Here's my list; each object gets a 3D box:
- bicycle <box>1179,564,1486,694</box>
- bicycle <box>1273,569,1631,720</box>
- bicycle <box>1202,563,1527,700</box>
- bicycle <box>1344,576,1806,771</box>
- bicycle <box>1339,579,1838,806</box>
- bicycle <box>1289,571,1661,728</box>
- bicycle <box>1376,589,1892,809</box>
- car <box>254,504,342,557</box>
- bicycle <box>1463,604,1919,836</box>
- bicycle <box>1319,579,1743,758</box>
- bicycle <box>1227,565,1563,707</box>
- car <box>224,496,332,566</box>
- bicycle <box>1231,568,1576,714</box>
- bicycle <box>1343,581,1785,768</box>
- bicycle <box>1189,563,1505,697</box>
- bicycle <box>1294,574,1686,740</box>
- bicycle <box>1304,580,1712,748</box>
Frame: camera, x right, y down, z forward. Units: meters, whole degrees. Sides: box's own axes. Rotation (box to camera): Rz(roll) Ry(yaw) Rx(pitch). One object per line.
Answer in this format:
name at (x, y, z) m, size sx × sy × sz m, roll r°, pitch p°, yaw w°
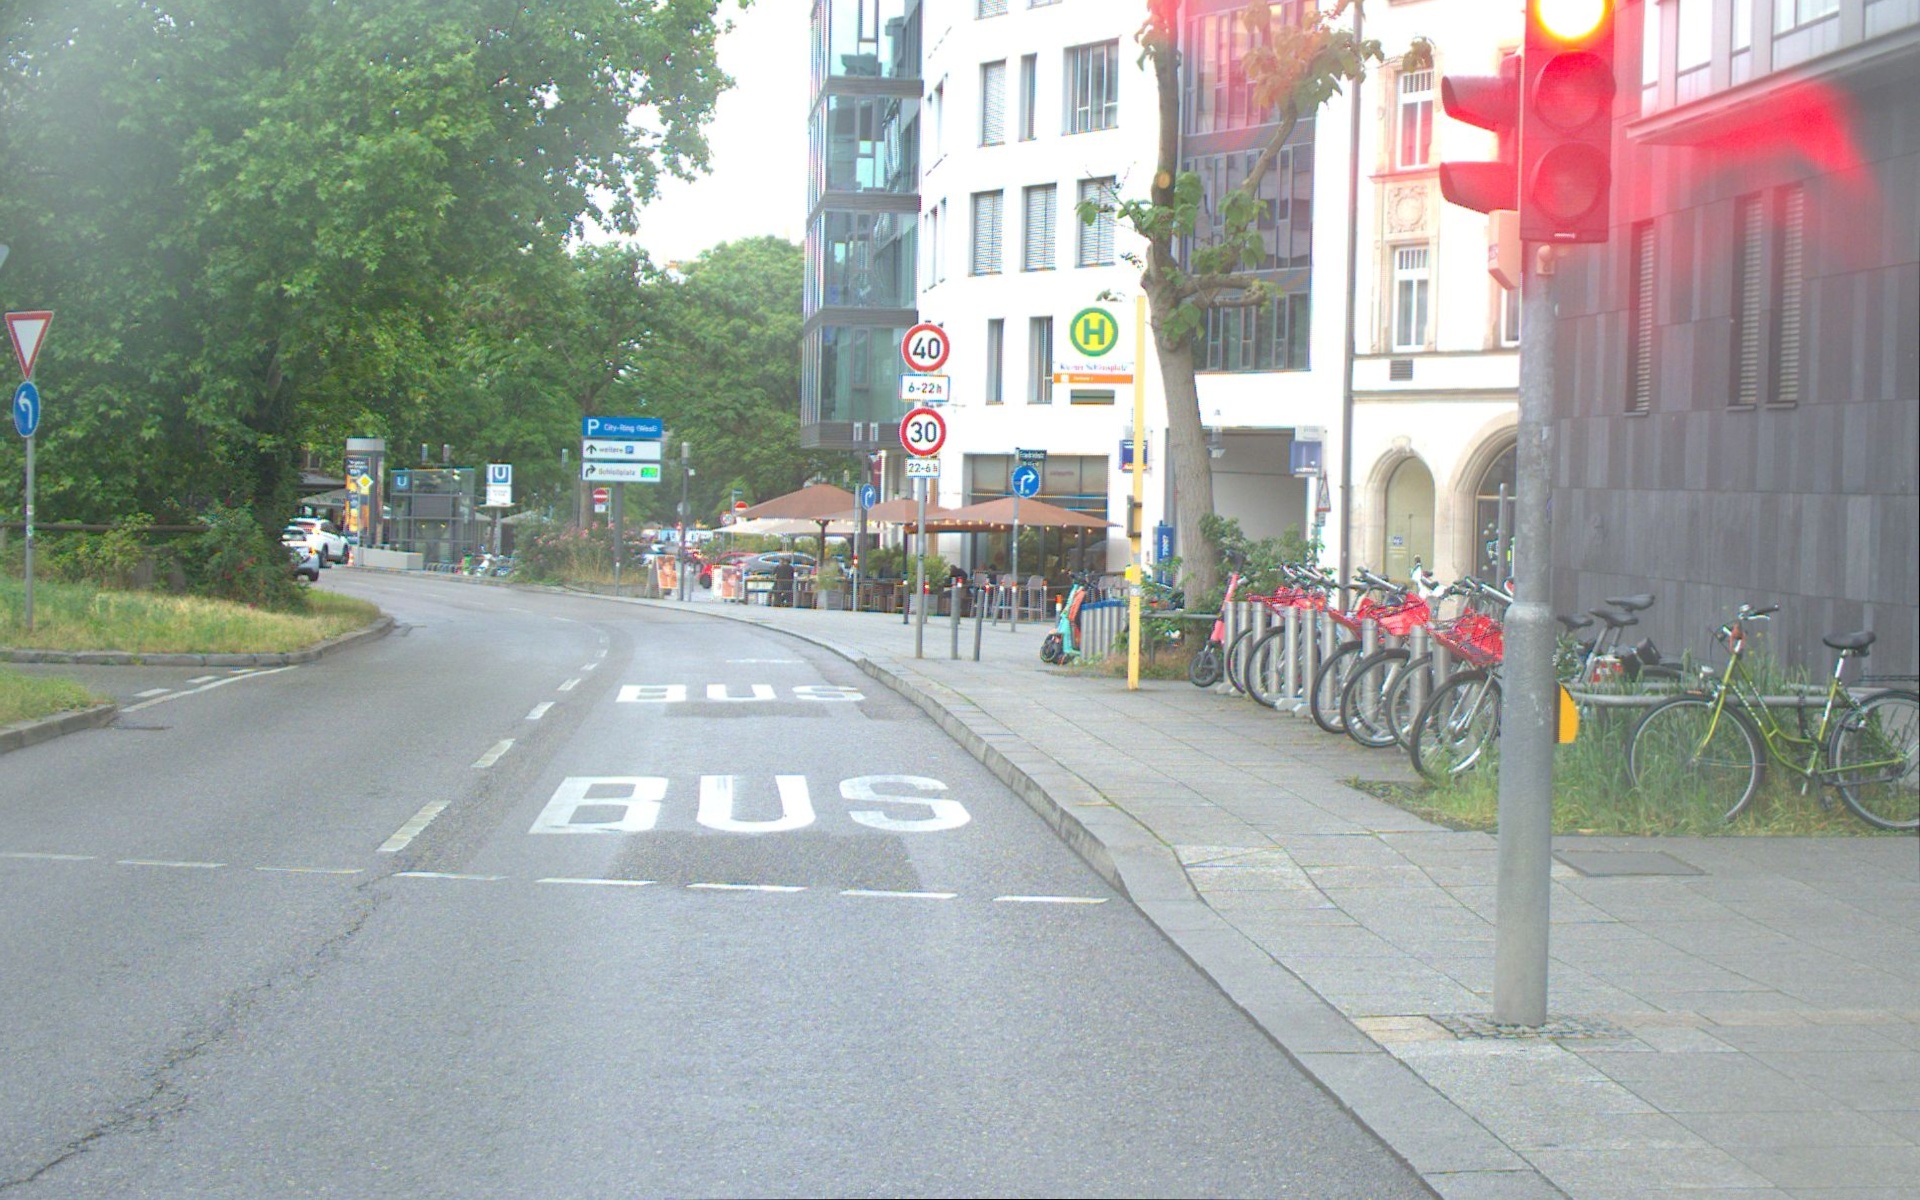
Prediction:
bicycle at (3.191, 0.246, 29.548) m, size 2.535 × 1.083 × 0.627 m, roll 1°, pitch 1°, yaw -5°
bicycle at (3.651, 0.329, 25.598) m, size 2.535 × 1.083 × 0.677 m, roll 1°, pitch 1°, yaw -5°
bicycle at (3.292, 0.251, 28.078) m, size 2.535 × 1.083 × 0.677 m, roll 1°, pitch 1°, yaw -5°
bicycle at (3.559, 0.420, 19.983) m, size 2.535 × 1.083 × 0.677 m, roll 1°, pitch 1°, yaw -5°
bicycle at (3.414, 0.496, 18.758) m, size 2.535 × 1.083 × 0.677 m, roll 3°, pitch 1°, yaw -5°
bicycle at (3.674, 0.348, 24.620) m, size 2.535 × 1.083 × 0.677 m, roll 1°, pitch 1°, yaw -5°
bicycle at (3.501, 0.508, 17.955) m, size 2.535 × 1.083 × 0.677 m, roll 1°, pitch 1°, yaw -5°
car at (-22.393, -2.357, 116.502) m, size 2.179 × 1.695 × 4.000 m, roll 2°, pitch 1°, yaw 0°
bicycle at (3.746, 0.569, 16.478) m, size 2.535 × 1.053 × 0.677 m, roll 1°, pitch 1°, yaw -5°
bicycle at (3.581, 0.426, 21.649) m, size 2.535 × 1.083 × 0.677 m, roll 1°, pitch 1°, yaw -5°
bicycle at (3.427, 0.280, 27.190) m, size 2.535 × 1.083 × 0.677 m, roll 1°, pitch 1°, yaw -5°
car at (-19.068, -1.940, 96.033) m, size 1.993 × 1.641 × 4.002 m, roll 5°, pitch 1°, yaw -24°
bicycle at (3.400, 0.309, 26.438) m, size 2.535 × 1.083 × 0.677 m, roll 1°, pitch 1°, yaw -5°
bicycle at (3.648, 0.446, 20.838) m, size 2.535 × 1.083 × 0.677 m, roll 1°, pitch 1°, yaw -5°
bicycle at (3.236, 0.250, 28.826) m, size 2.535 × 1.083 × 0.677 m, roll 1°, pitch 1°, yaw -5°
bicycle at (3.595, 0.382, 23.424) m, size 2.535 × 1.083 × 0.677 m, roll 1°, pitch 1°, yaw -5°
bicycle at (3.577, 0.413, 22.515) m, size 2.535 × 1.056 × 0.677 m, roll 1°, pitch 1°, yaw -5°
